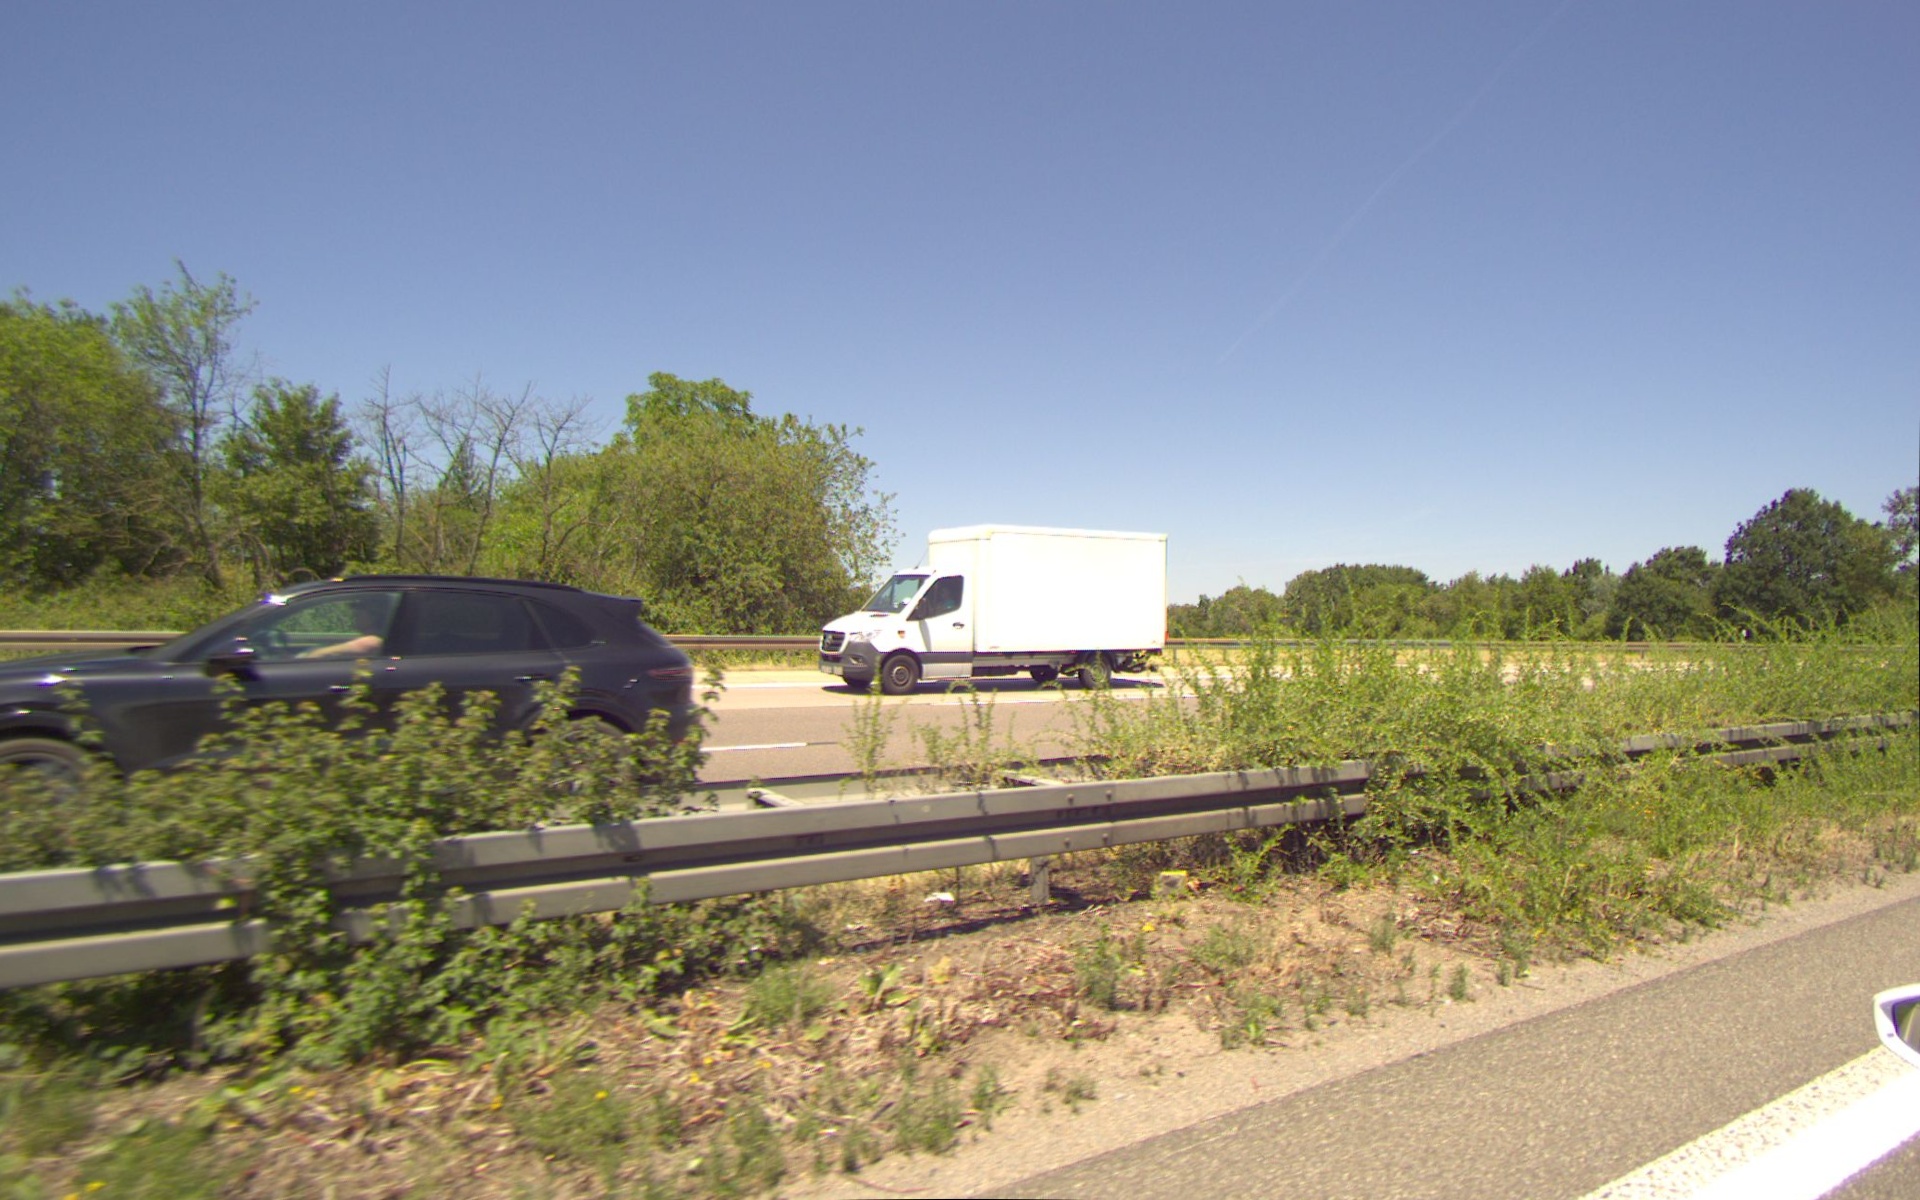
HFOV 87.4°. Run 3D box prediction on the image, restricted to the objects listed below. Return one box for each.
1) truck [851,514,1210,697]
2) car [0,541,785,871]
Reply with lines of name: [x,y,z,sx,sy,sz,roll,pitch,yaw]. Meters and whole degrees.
truck: [1.524,0.182,19.958,6.906,3.140,2.440,2,-1,-30]
car: [-4.034,0.622,7.136,5.143,1.751,1.983,2,-1,-31]
